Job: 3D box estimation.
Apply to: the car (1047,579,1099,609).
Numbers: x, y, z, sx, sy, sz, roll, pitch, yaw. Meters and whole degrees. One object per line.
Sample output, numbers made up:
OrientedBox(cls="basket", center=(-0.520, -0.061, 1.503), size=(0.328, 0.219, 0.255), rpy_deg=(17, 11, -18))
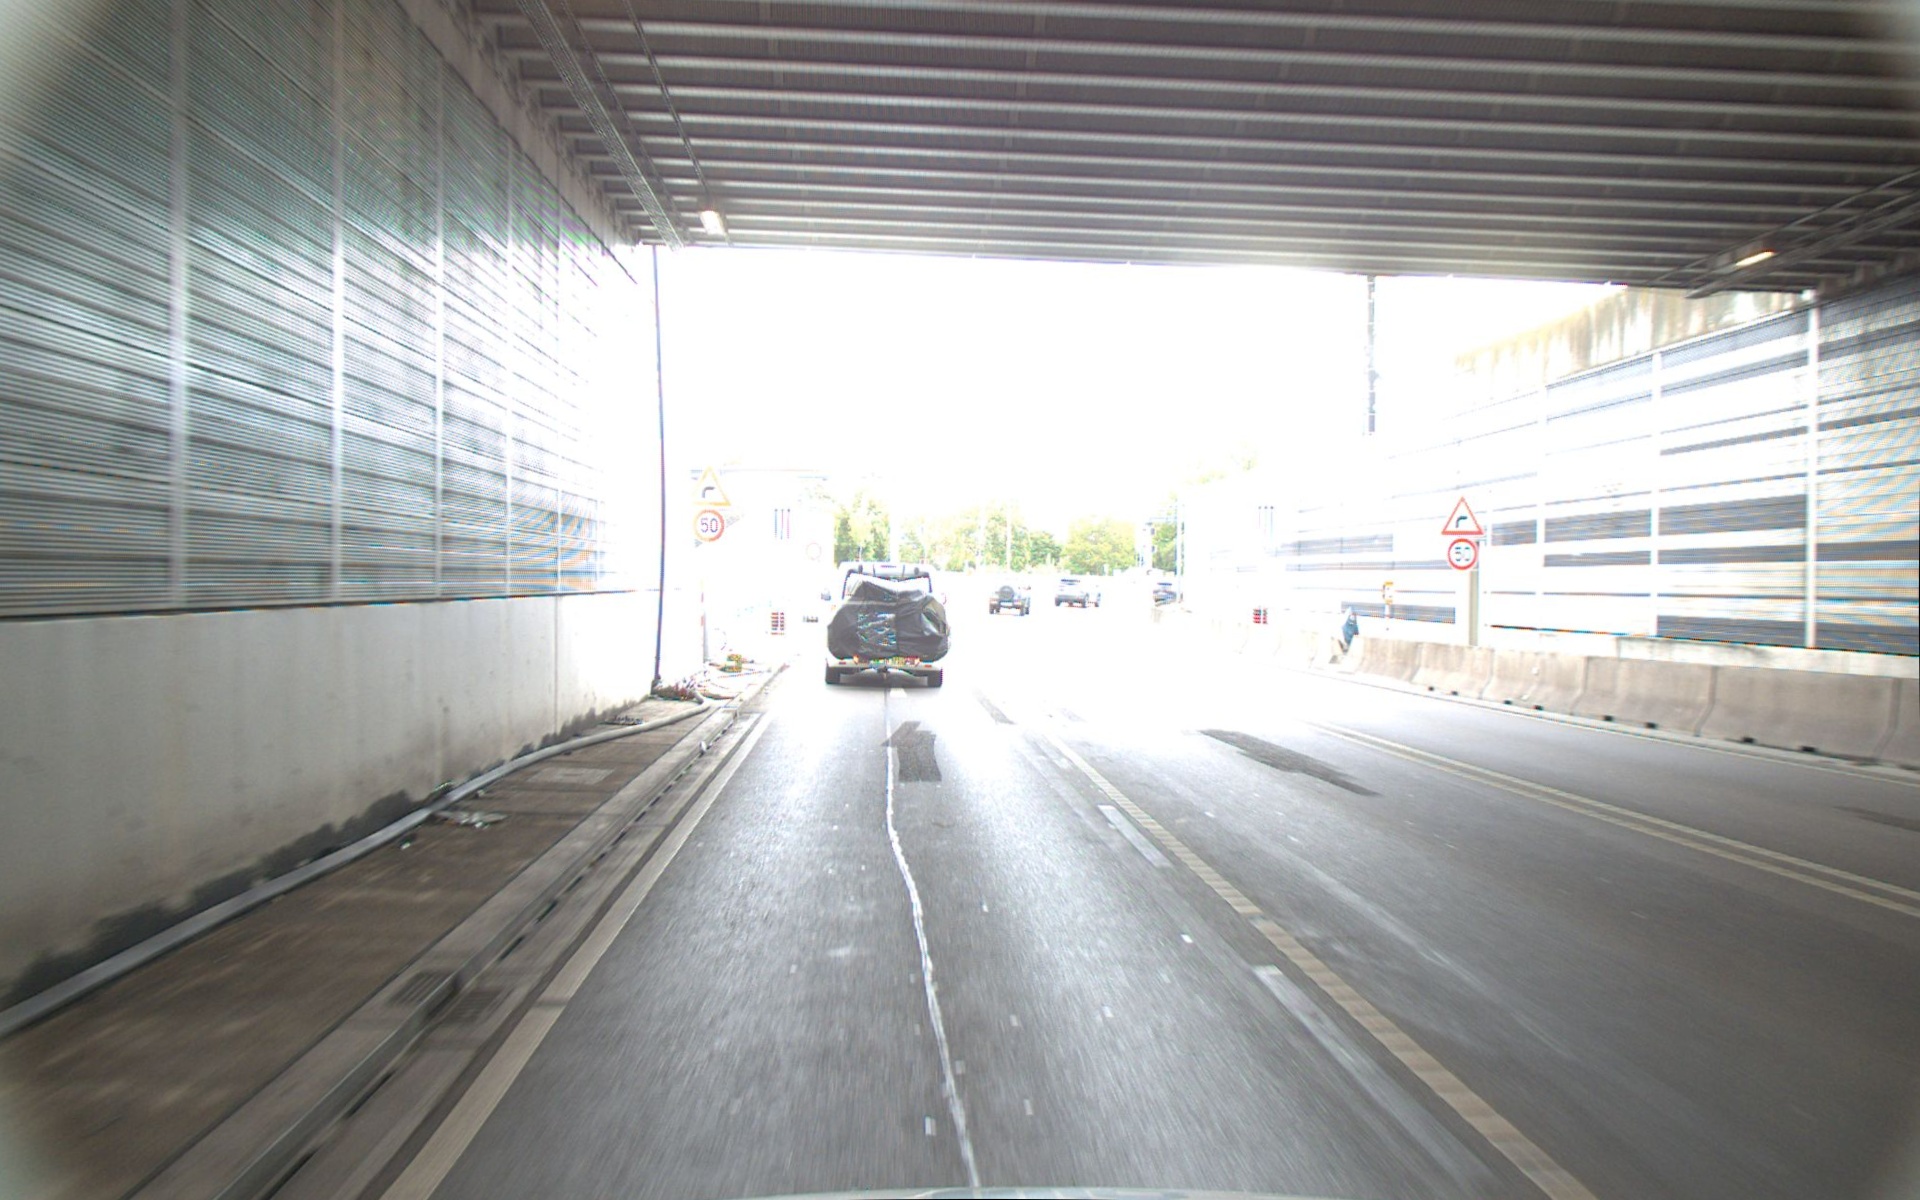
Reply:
OrientedBox(cls="car", center=(6.271, -0.371, 91.338), size=(1.970, 1.514, 4.068), rpy_deg=(2, 2, 16))

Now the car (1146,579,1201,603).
OrientedBox(cls="car", center=(13.719, -0.596, 106.205), size=(1.959, 1.495, 3.988), rpy_deg=(0, 0, 34))

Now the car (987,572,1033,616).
OrientedBox(cls="car", center=(2.267, -0.292, 74.410), size=(1.952, 1.892, 4.002), rpy_deg=(2, 1, 3))

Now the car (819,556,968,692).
OrientedBox(cls="car", center=(-1.175, 0.321, 26.289), size=(1.955, 1.891, 5.633), rpy_deg=(1, 0, -6))

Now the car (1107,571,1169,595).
OrientedBox(cls="car", center=(13.995, -1.347, 129.606), size=(5.234, 1.780, 1.925), rpy_deg=(0, 1, -44))
